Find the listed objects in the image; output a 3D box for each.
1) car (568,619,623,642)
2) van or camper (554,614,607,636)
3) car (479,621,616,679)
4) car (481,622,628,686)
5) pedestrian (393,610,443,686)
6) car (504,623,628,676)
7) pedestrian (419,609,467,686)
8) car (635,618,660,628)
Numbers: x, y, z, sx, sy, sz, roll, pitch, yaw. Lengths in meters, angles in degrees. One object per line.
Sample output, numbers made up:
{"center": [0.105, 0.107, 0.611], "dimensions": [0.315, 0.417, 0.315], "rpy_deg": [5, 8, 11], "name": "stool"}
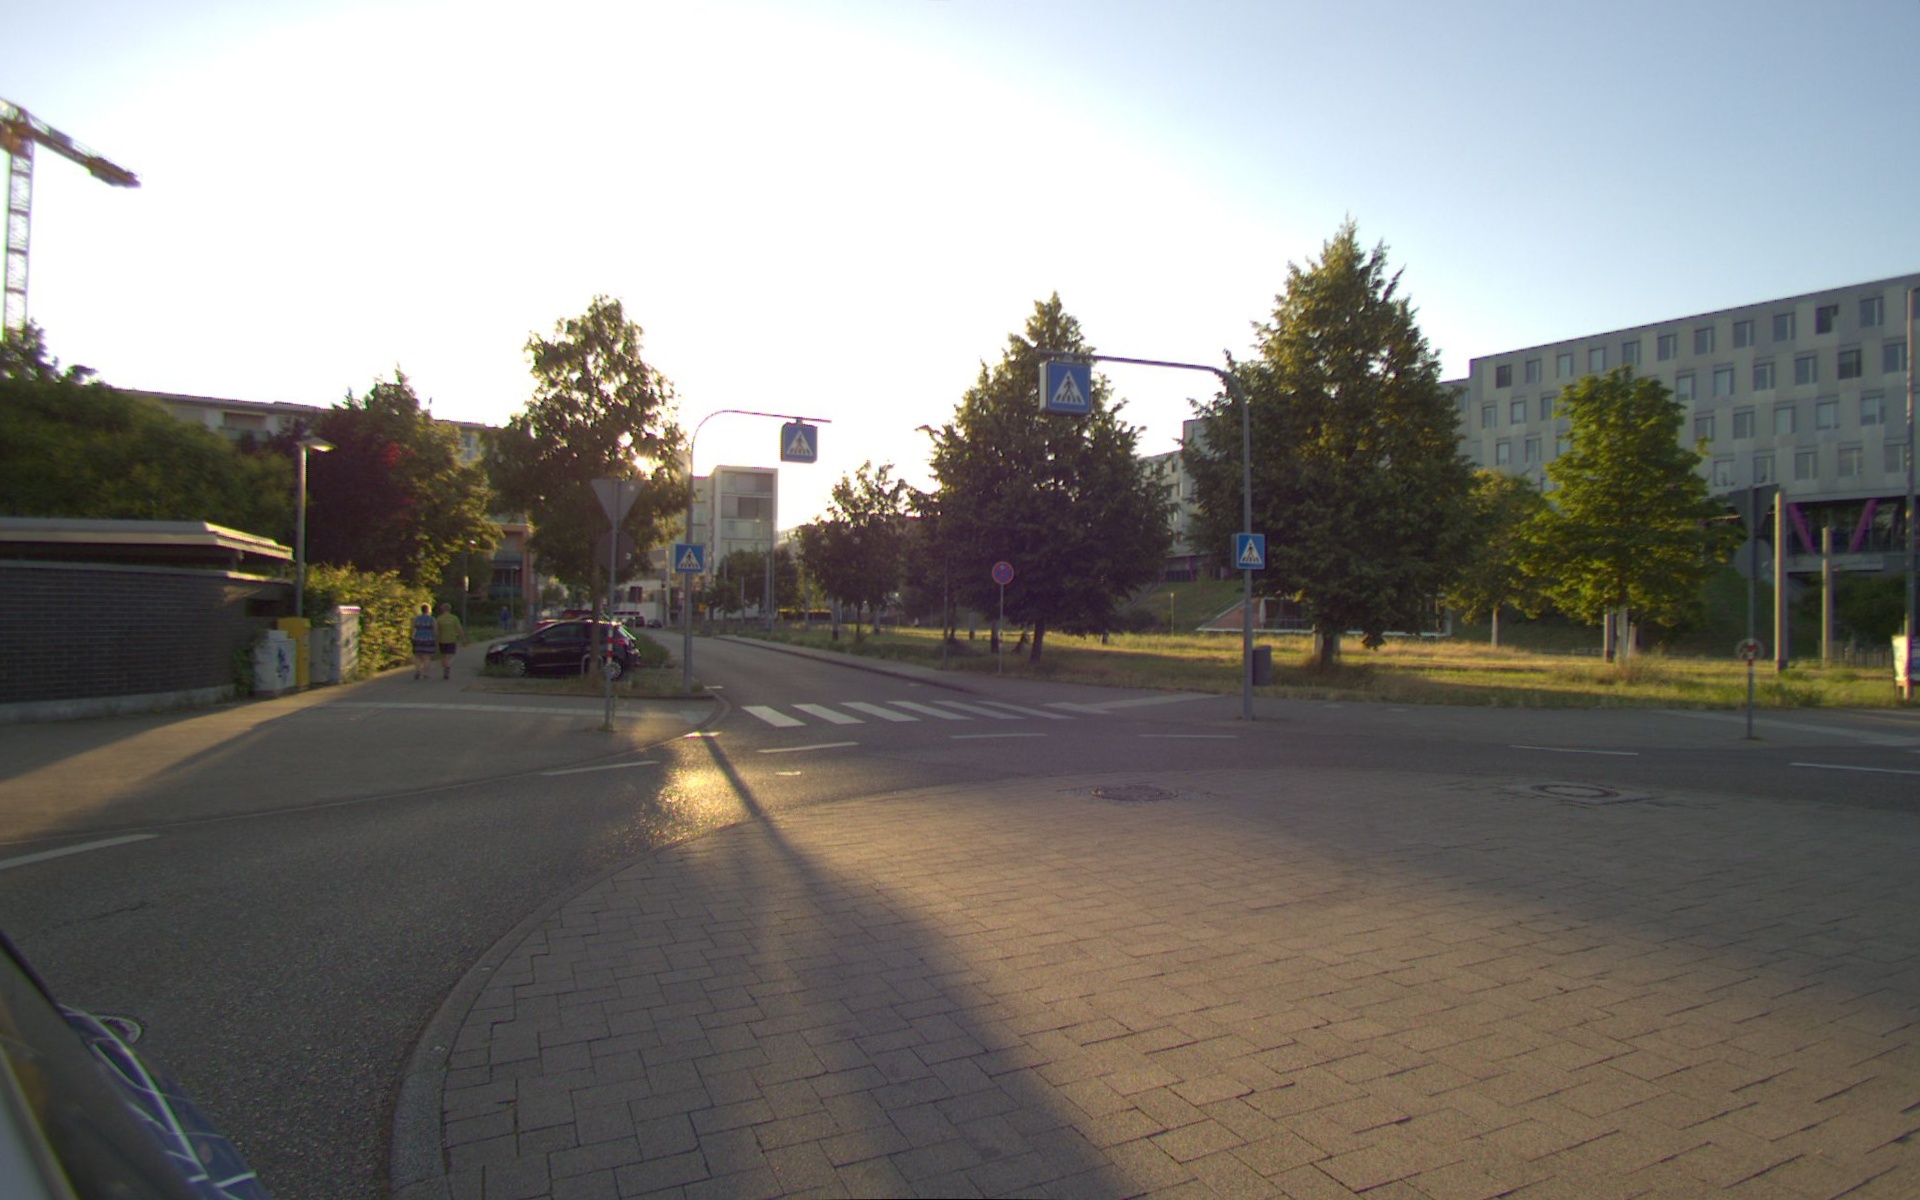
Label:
{"center": [-28.411, 2.365, 78.896], "dimensions": [3.812, 1.707, 1.708], "rpy_deg": [0, -1, -27], "name": "car"}
{"center": [-30.429, 2.001, 81.184], "dimensions": [3.812, 1.707, 1.840], "rpy_deg": [0, -1, -25], "name": "van or camper"}
{"center": [-11.253, 1.361, 27.717], "dimensions": [3.351, 1.512, 1.600], "rpy_deg": [1, -2, -22], "name": "car"}
{"center": [-10.320, 1.358, 25.903], "dimensions": [3.351, 1.533, 1.696], "rpy_deg": [1, -2, -22], "name": "car"}
{"center": [-11.835, 1.035, 22.086], "dimensions": [0.710, 1.612, 0.650], "rpy_deg": [1, 0, 29], "name": "pedestrian"}
{"center": [-11.861, 1.483, 30.539], "dimensions": [3.351, 1.512, 1.600], "rpy_deg": [1, -2, -22], "name": "car"}
{"center": [-11.564, 1.043, 22.659], "dimensions": [0.740, 1.680, 0.618], "rpy_deg": [1, 0, 29], "name": "pedestrian"}
{"center": [-51.747, 3.795, 167.432], "dimensions": [3.812, 1.625, 1.708], "rpy_deg": [0, -1, -24], "name": "car"}
